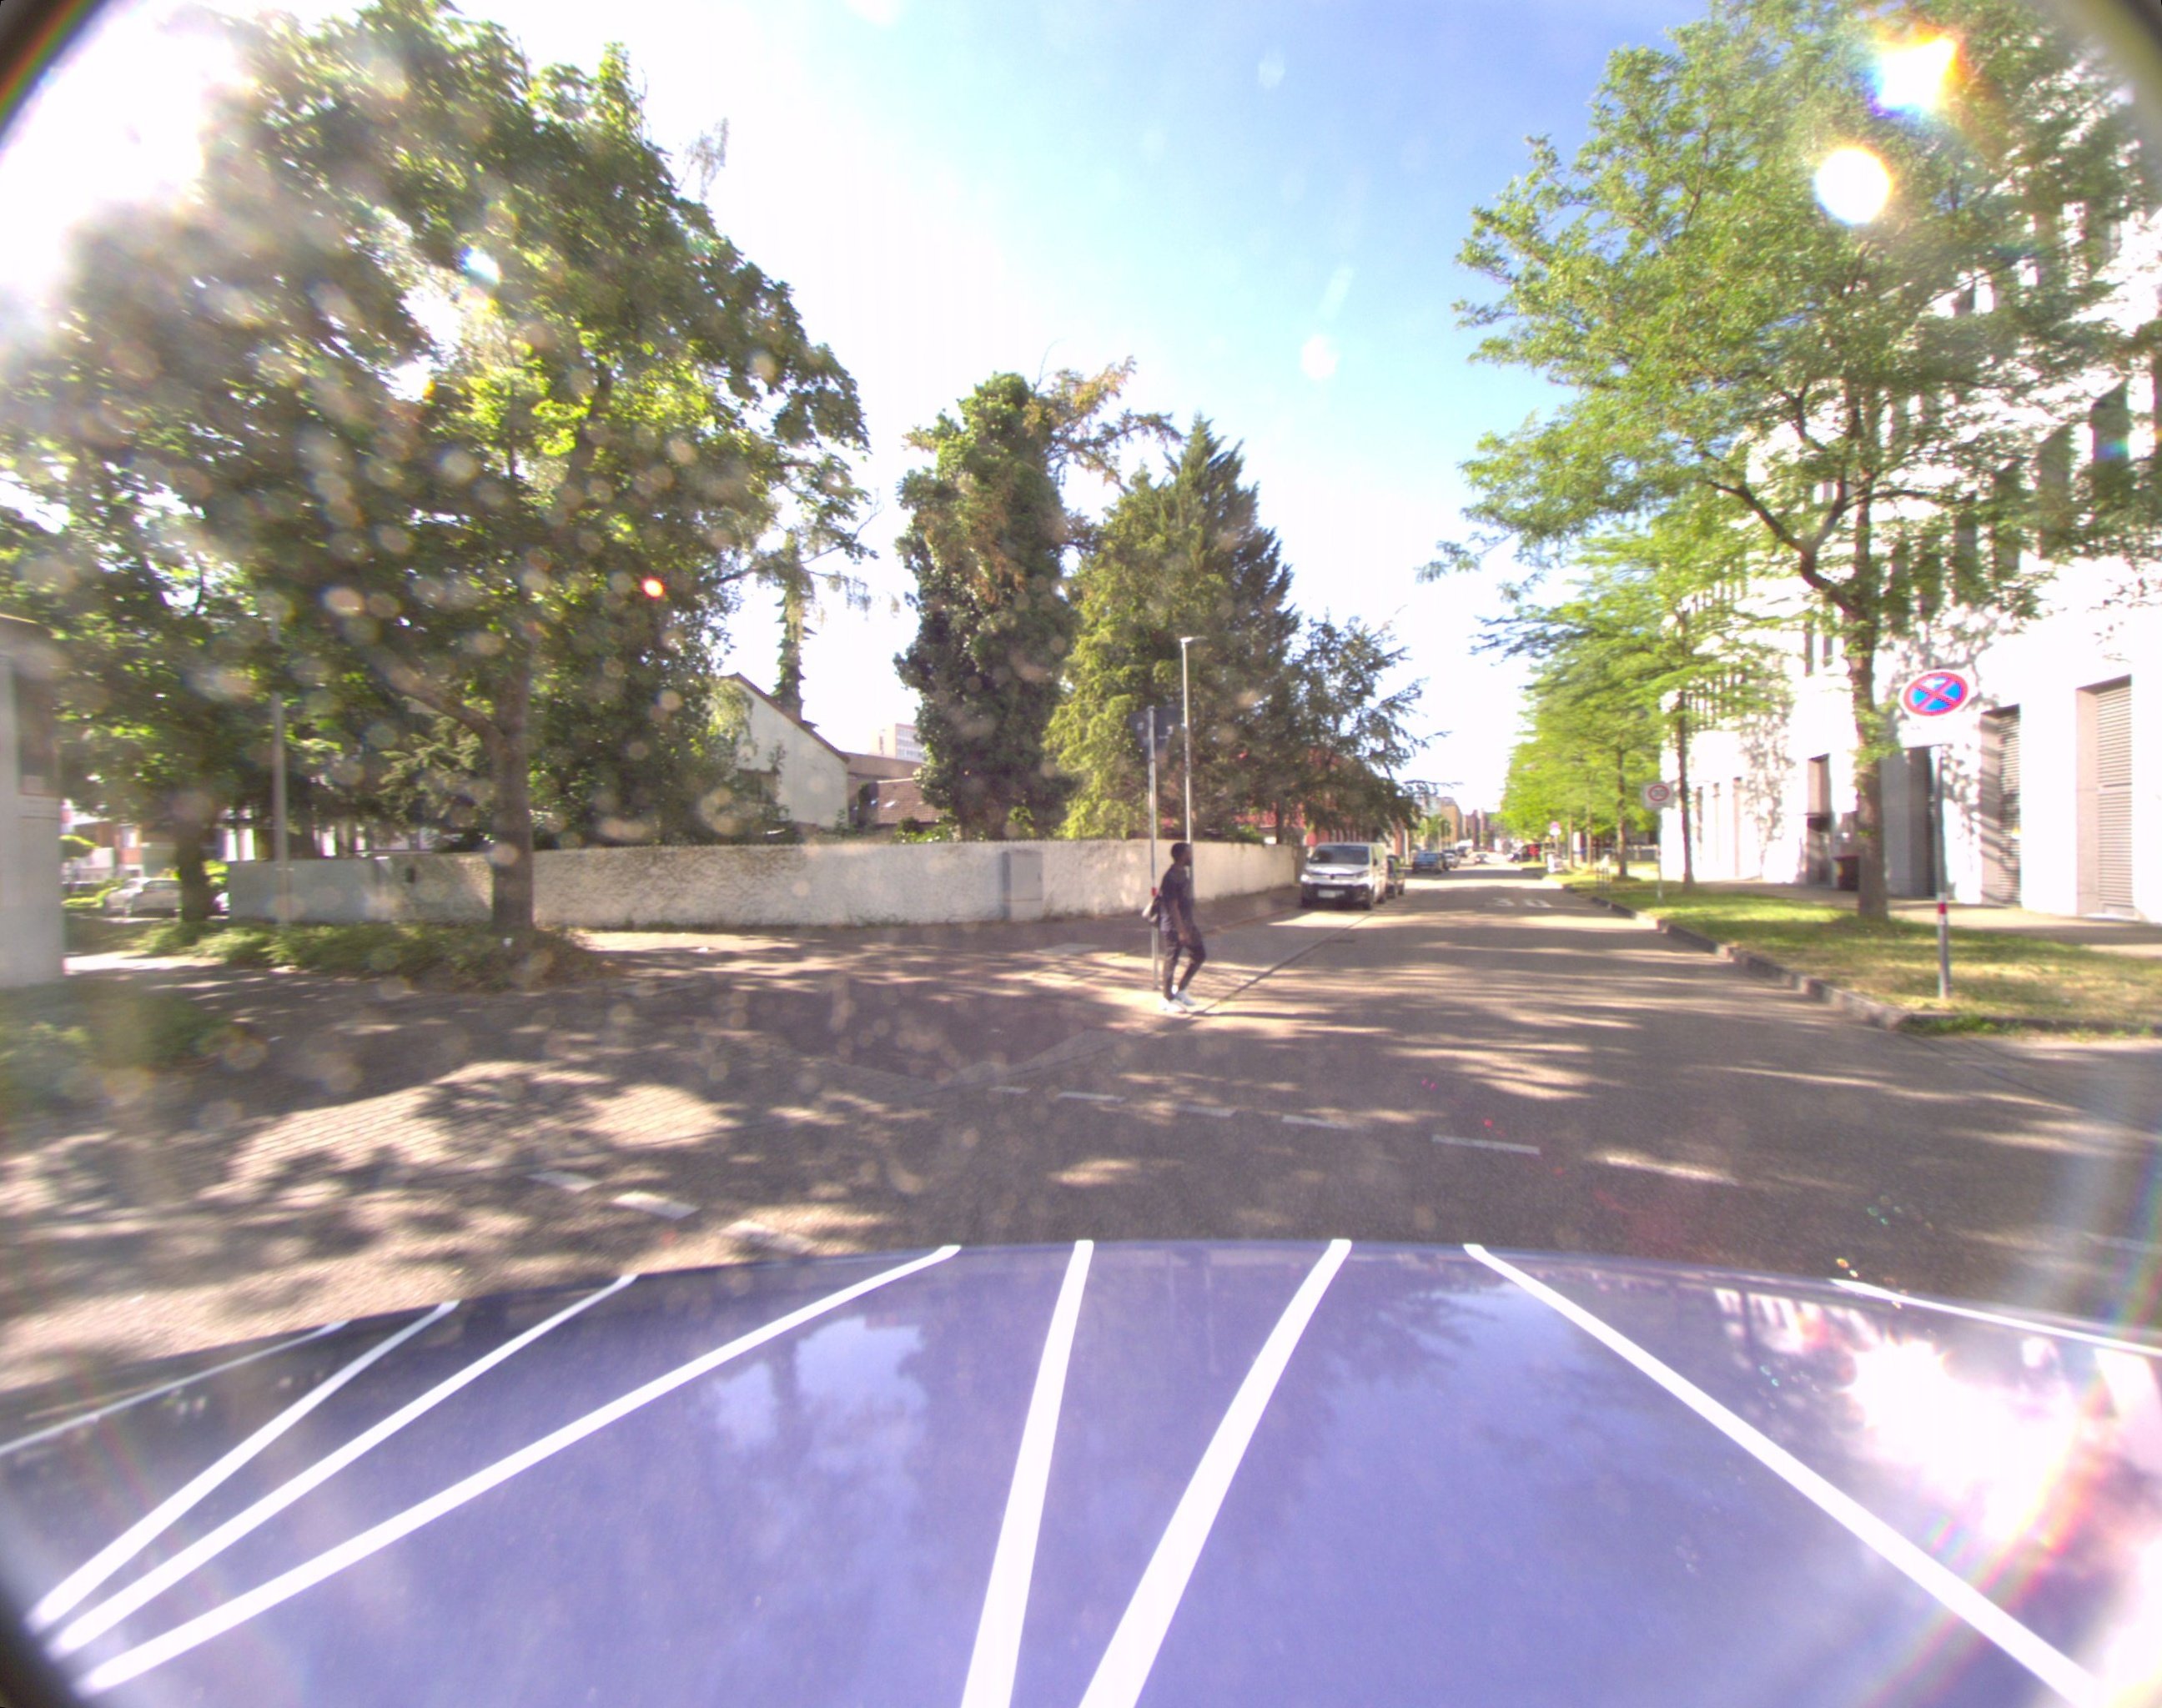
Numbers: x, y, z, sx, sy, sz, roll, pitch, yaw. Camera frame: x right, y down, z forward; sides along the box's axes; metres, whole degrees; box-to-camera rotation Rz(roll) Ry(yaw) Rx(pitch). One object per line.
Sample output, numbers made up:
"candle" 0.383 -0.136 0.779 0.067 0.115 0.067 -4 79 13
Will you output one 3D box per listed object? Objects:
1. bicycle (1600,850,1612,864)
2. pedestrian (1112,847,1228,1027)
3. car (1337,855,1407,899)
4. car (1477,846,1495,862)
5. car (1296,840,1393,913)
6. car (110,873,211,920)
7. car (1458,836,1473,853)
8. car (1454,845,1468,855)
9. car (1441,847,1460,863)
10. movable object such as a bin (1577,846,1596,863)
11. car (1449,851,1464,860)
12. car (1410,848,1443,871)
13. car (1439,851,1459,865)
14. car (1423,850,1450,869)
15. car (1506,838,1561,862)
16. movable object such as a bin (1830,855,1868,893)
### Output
"bicycle" 44.879 0.267 64.975 0.601 1.185 1.731 -2 0 29
"pedestrian" 0.899 0.778 7.630 0.805 1.674 0.840 -1 0 41
"car" 10.685 0.772 27.715 1.826 1.415 4.291 0 1 29
"car" 50.556 -0.060 94.831 1.899 1.974 4.380 0 1 29
"car" 7.957 0.568 22.622 1.899 1.903 5.157 0 1 29
"car" -34.003 1.521 28.043 4.132 1.604 1.839 -1 -1 32
"car" 93.054 -2.248 183.836 2.907 3.921 6.337 0 1 30
"car" 65.400 -0.698 130.686 1.899 1.585 4.380 0 1 29
"car" 45.731 0.110 93.892 1.899 1.974 4.380 0 1 29
"movable object such as a bin" 51.049 0.052 76.742 1.520 1.559 1.349 -2 0 33
"car" 53.275 0.231 107.807 1.773 1.282 4.103 0 1 29
"car" 25.846 0.408 56.726 1.899 1.620 4.380 0 1 29
"car" 38.534 0.420 79.610 1.696 1.448 3.897 0 1 29
"car" 31.368 0.446 66.932 1.875 1.620 4.414 0 1 29
"car" 54.966 -0.490 92.460 5.480 2.526 1.990 -3 -1 27
"movable object such as a bin" 22.027 0.570 21.801 0.593 1.034 0.544 -2 0 26
